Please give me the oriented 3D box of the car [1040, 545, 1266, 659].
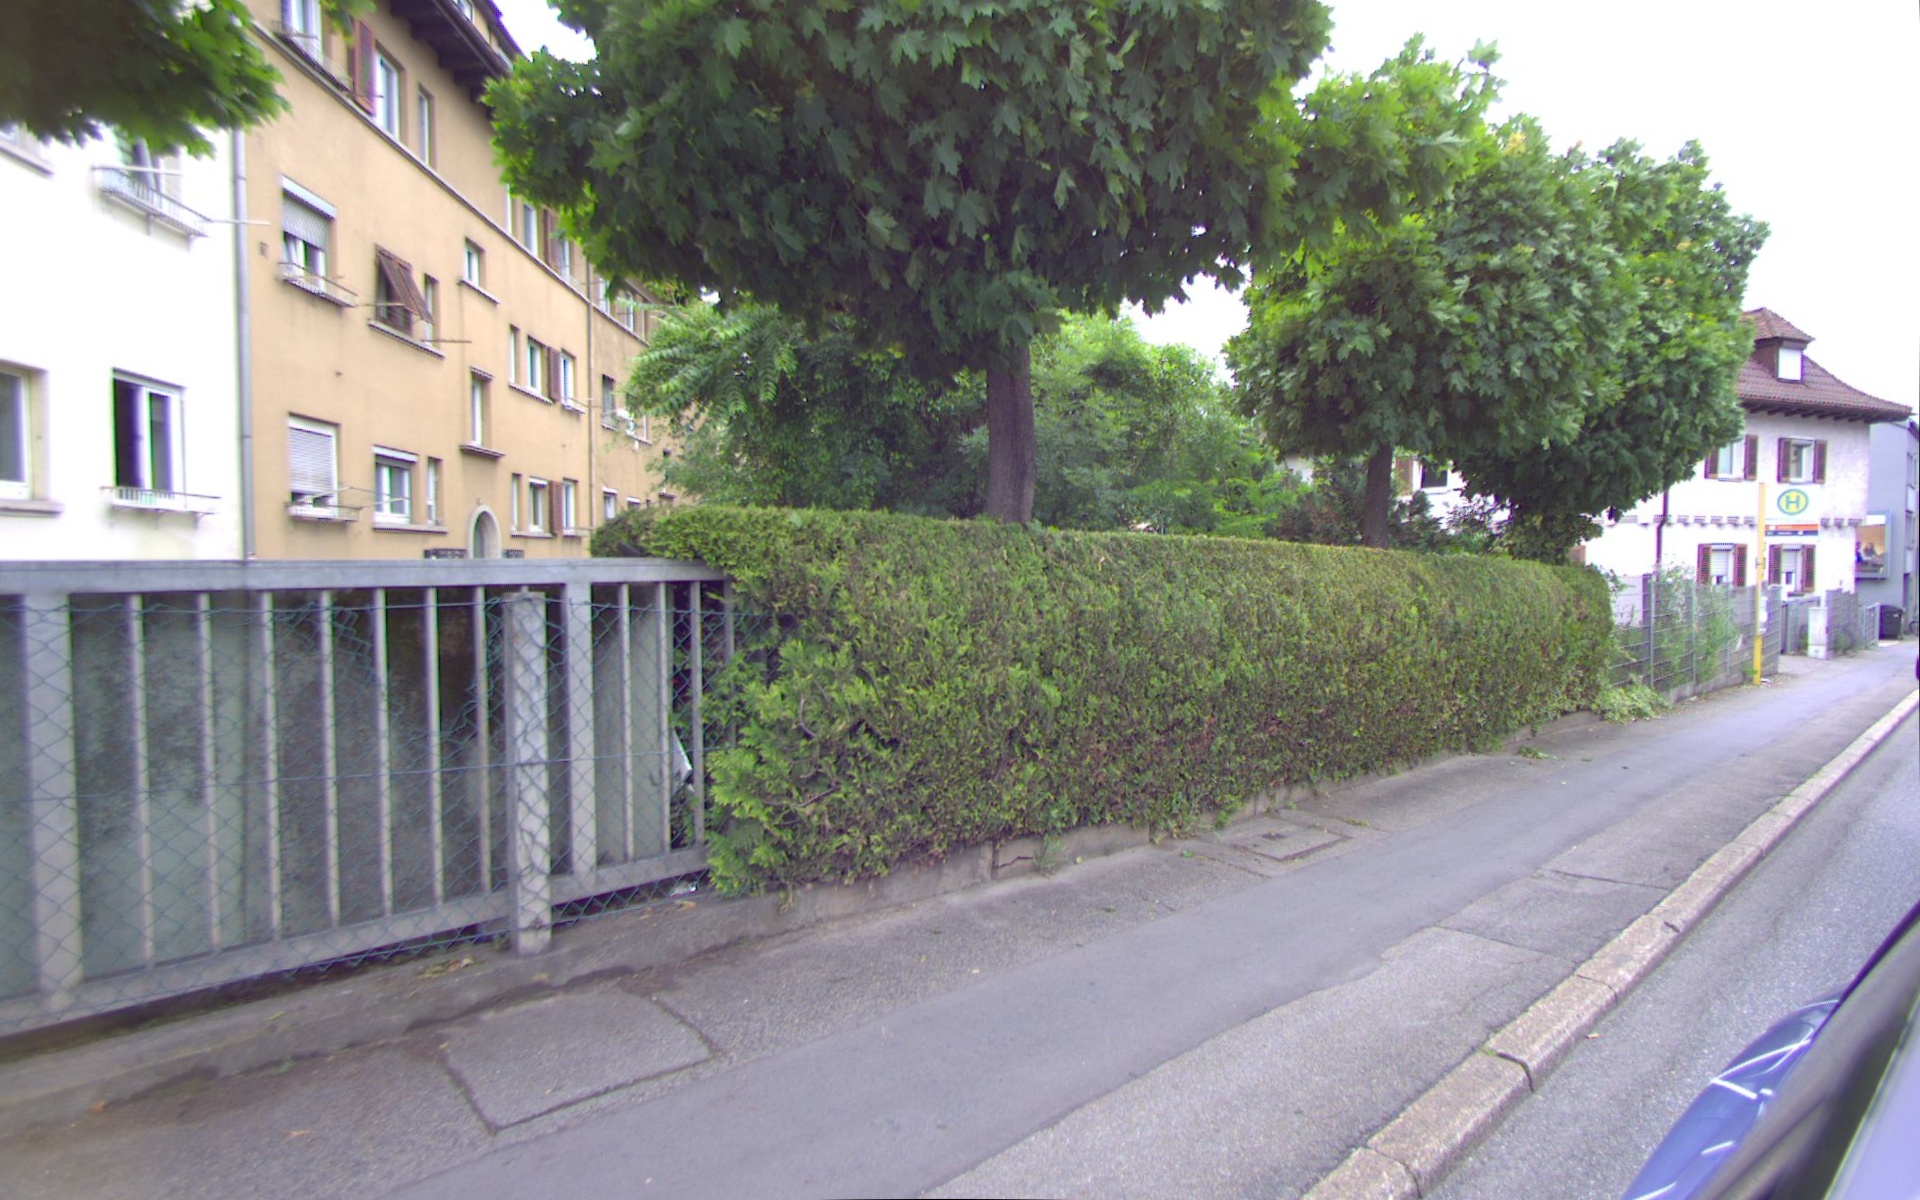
[{"bbox_3d":[3.651,0.025,19.718,3.923,2.039,2.001,1,1,-1],"label":"car"}]
